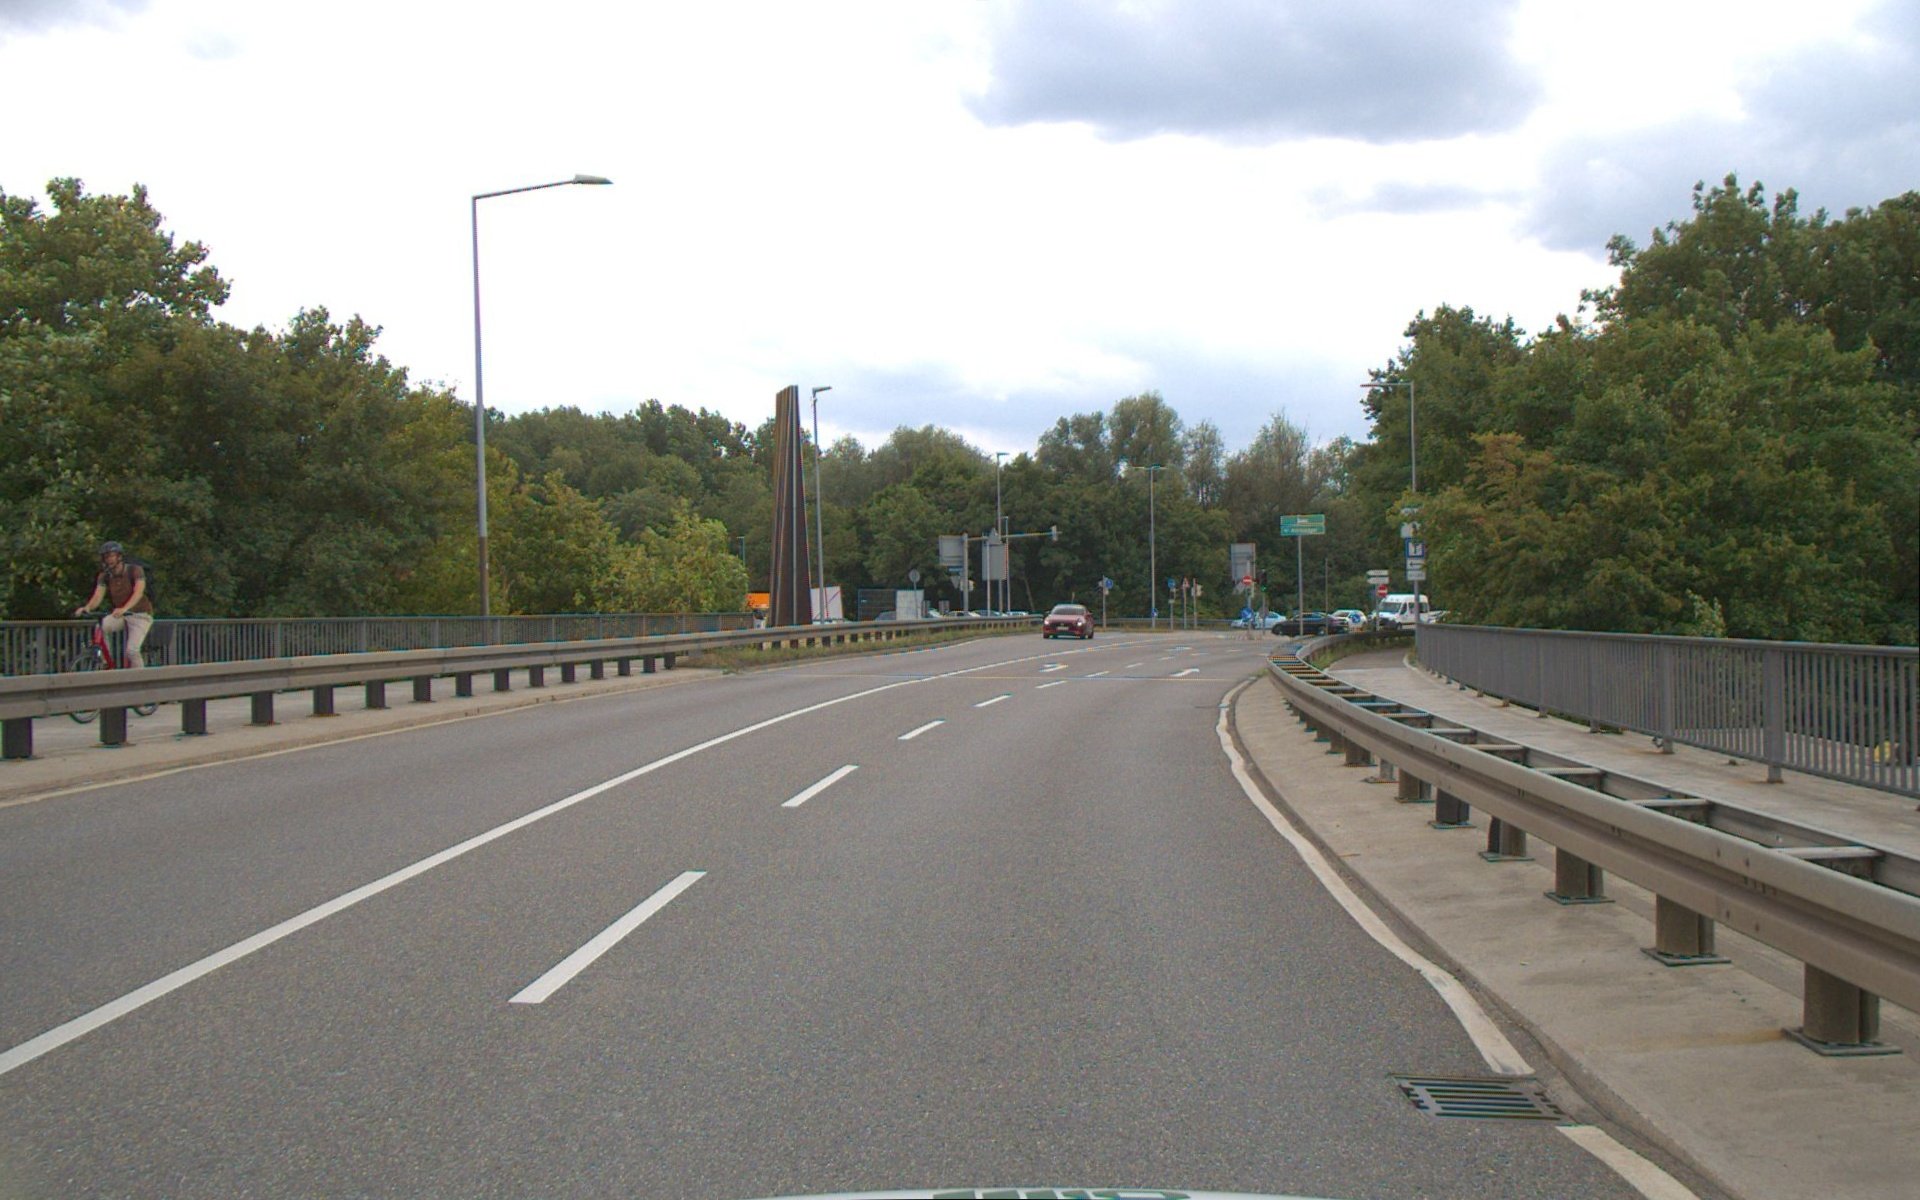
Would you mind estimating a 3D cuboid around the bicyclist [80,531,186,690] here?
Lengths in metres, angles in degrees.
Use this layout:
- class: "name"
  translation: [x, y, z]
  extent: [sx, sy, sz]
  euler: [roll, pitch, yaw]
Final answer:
- class: "bicyclist"
  translation: [-8.803, 0.116, 17.626]
  extent: [0.755, 1.660, 0.649]
  euler: [1, -2, 2]

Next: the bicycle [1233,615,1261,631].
- class: "bicycle"
  translation: [19.888, 1.585, 114.794]
  extent: [0.701, 1.071, 1.916]
  euler: [1, -3, -40]

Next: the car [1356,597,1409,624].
- class: "car"
  translation: [31.265, 0.775, 122.373]
  extent: [1.967, 1.935, 4.136]
  euler: [0, -1, 45]

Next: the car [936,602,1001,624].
- class: "car"
  translation: [0.545, 0.833, 105.233]
  extent: [3.736, 1.333, 1.990]
  euler: [0, -1, 40]

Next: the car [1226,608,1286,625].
- class: "car"
  translation: [21.945, 1.230, 122.692]
  extent: [4.170, 1.226, 1.978]
  euler: [1, -1, -33]

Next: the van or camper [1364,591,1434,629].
- class: "van or camper"
  translation: [31.233, 0.707, 117.534]
  extent: [2.129, 2.634, 6.456]
  euler: [0, -1, 42]

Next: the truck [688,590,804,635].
- class: "truck"
  translation: [-15.709, 0.882, 120.946]
  extent: [9.100, 3.190, 2.957]
  euler: [0, -1, 39]

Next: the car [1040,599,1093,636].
- class: "car"
  translation: [4.557, 0.733, 70.289]
  extent: [1.757, 1.498, 4.639]
  euler: [1, 0, 10]

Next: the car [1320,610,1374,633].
- class: "car"
  translation: [27.761, 1.534, 118.565]
  extent: [1.964, 1.574, 4.513]
  euler: [0, -1, 41]

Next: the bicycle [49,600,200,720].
- class: "bicycle"
  translation: [-8.789, 0.604, 17.486]
  extent: [0.622, 1.194, 1.906]
  euler: [1, 0, 0]
